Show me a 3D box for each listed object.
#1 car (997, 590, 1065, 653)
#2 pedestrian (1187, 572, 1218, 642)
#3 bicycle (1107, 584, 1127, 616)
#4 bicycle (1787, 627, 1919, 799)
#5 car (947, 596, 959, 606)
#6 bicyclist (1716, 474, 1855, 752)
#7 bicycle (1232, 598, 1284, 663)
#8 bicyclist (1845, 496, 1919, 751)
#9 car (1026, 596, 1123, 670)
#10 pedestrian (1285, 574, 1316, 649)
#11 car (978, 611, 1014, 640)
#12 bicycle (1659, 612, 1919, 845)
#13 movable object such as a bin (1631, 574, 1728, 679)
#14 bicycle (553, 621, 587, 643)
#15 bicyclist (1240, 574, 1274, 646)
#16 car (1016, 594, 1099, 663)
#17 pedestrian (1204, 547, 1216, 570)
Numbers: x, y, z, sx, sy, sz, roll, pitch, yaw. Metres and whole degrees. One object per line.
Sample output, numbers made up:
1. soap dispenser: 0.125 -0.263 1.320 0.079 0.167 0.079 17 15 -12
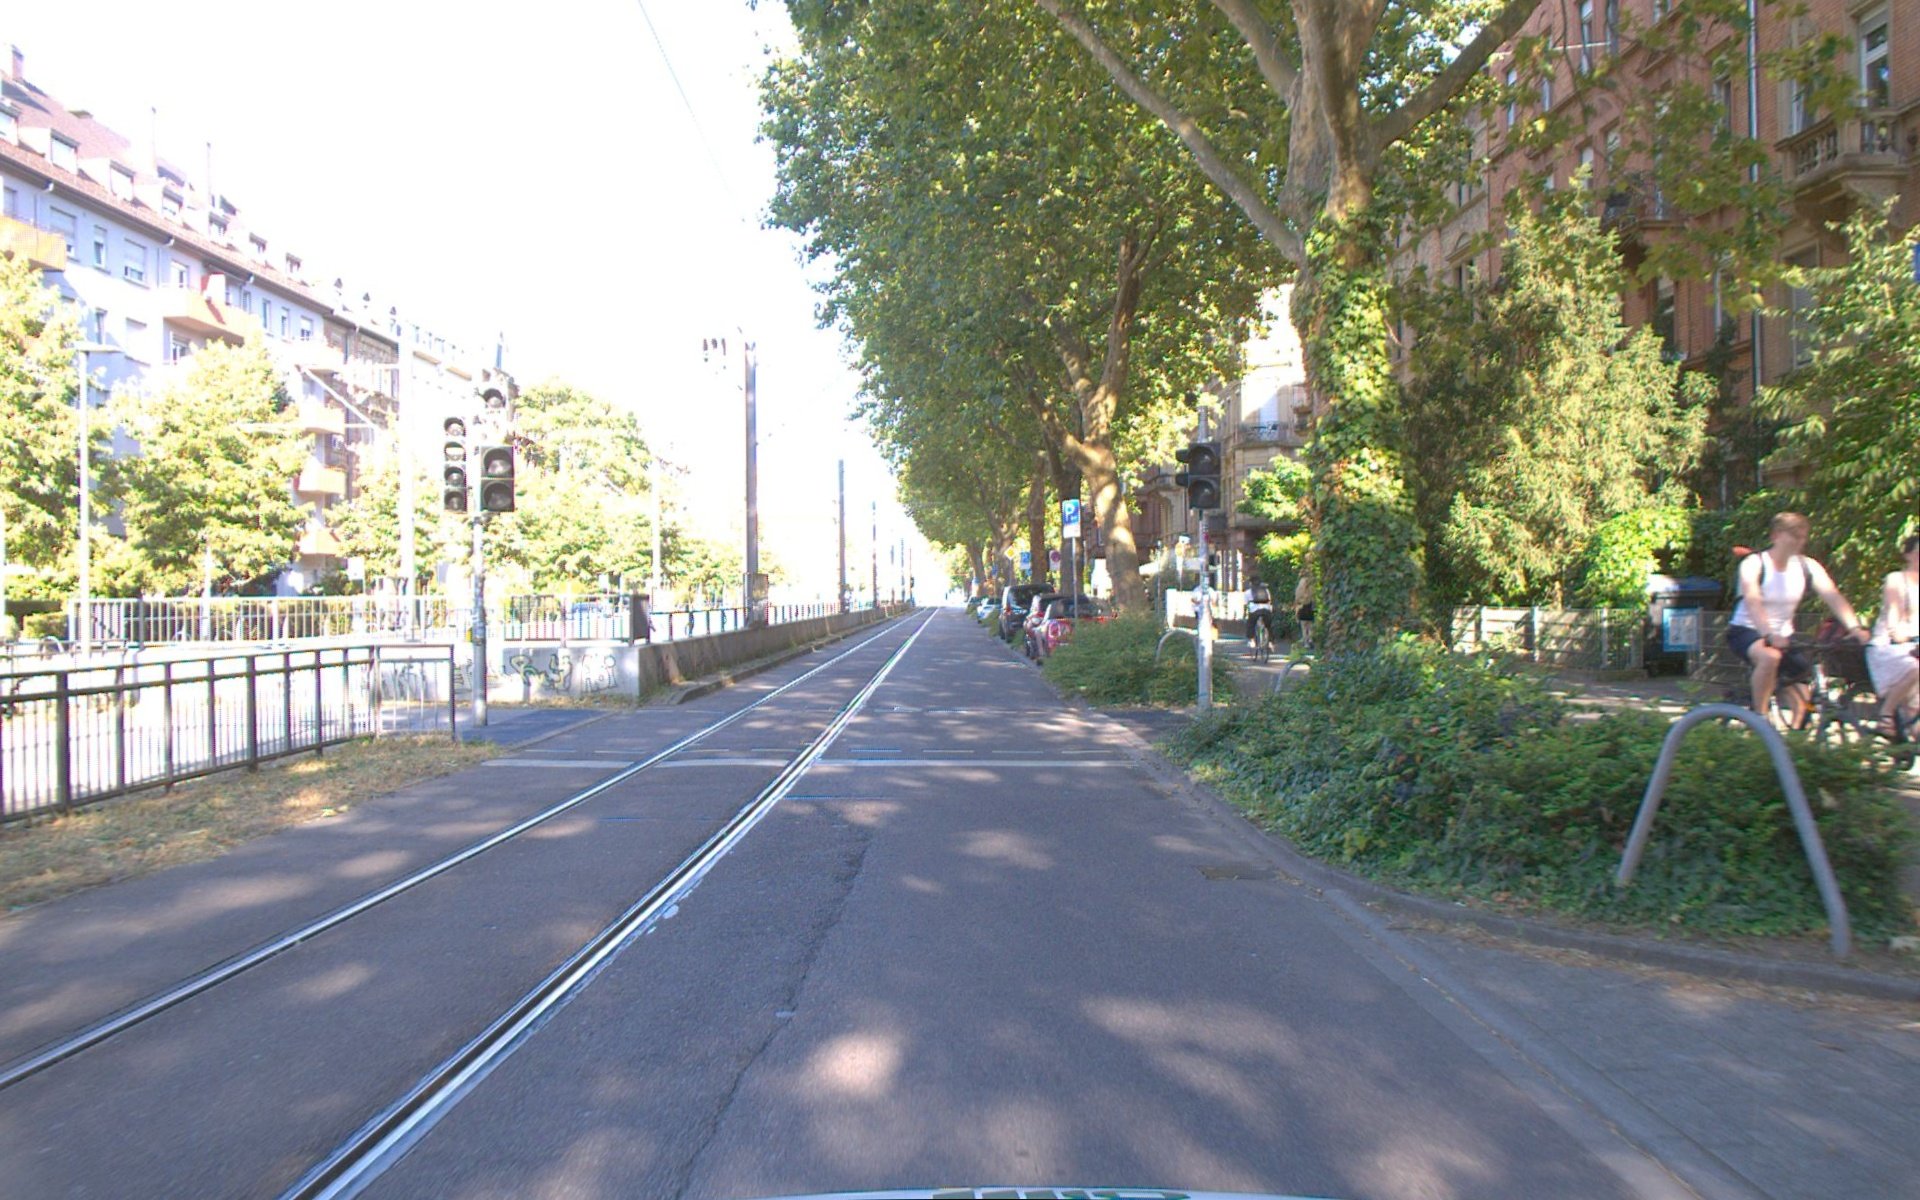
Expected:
1. car: 2.409 0.719 57.494 1.953 2.049 5.200 -1 0 -2
2. pedestrian: 6.386 0.177 43.556 0.675 1.816 0.644 -1 0 -2
3. bicycle: 6.184 0.000 65.248 0.549 1.199 2.021 0 -1 -1
4. bicycle: 6.429 0.745 11.116 0.550 1.055 1.930 -2 1 -7
5. car: -1.105 0.143 257.355 1.710 1.487 3.643 2 0 -1
6. bicyclist: 5.088 0.069 10.222 0.532 1.653 0.644 -1 1 -2
7. bicycle: 5.881 0.583 32.700 0.549 1.199 2.225 -1 1 -2
8. bicyclist: 6.424 0.146 11.113 0.532 1.654 0.643 -1 0 -7
9. car: 2.398 0.713 35.411 1.680 1.488 3.998 1 -1 -2
10. pedestrian: 7.699 0.252 37.379 0.519 1.656 0.617 -2 0 0
11. car: 1.941 1.364 89.803 1.766 1.503 4.645 0 -1 -1
12. bicycle: 5.094 0.715 10.212 0.549 1.198 2.225 -1 2 -2
13. movable object such as a bin: 10.632 0.389 24.469 0.888 1.490 1.083 -2 -1 -2
14. bicycle: -22.491 1.850 95.469 1.771 1.199 0.562 2 -1 2
15. bicyclist: 5.874 0.190 32.733 0.532 1.404 0.644 -1 0 -2
16. car: 2.371 0.721 41.254 1.679 1.576 4.499 -2 -1 -1
17. pedestrian: 12.799 -2.137 84.627 0.545 1.158 0.526 0 -1 -1
